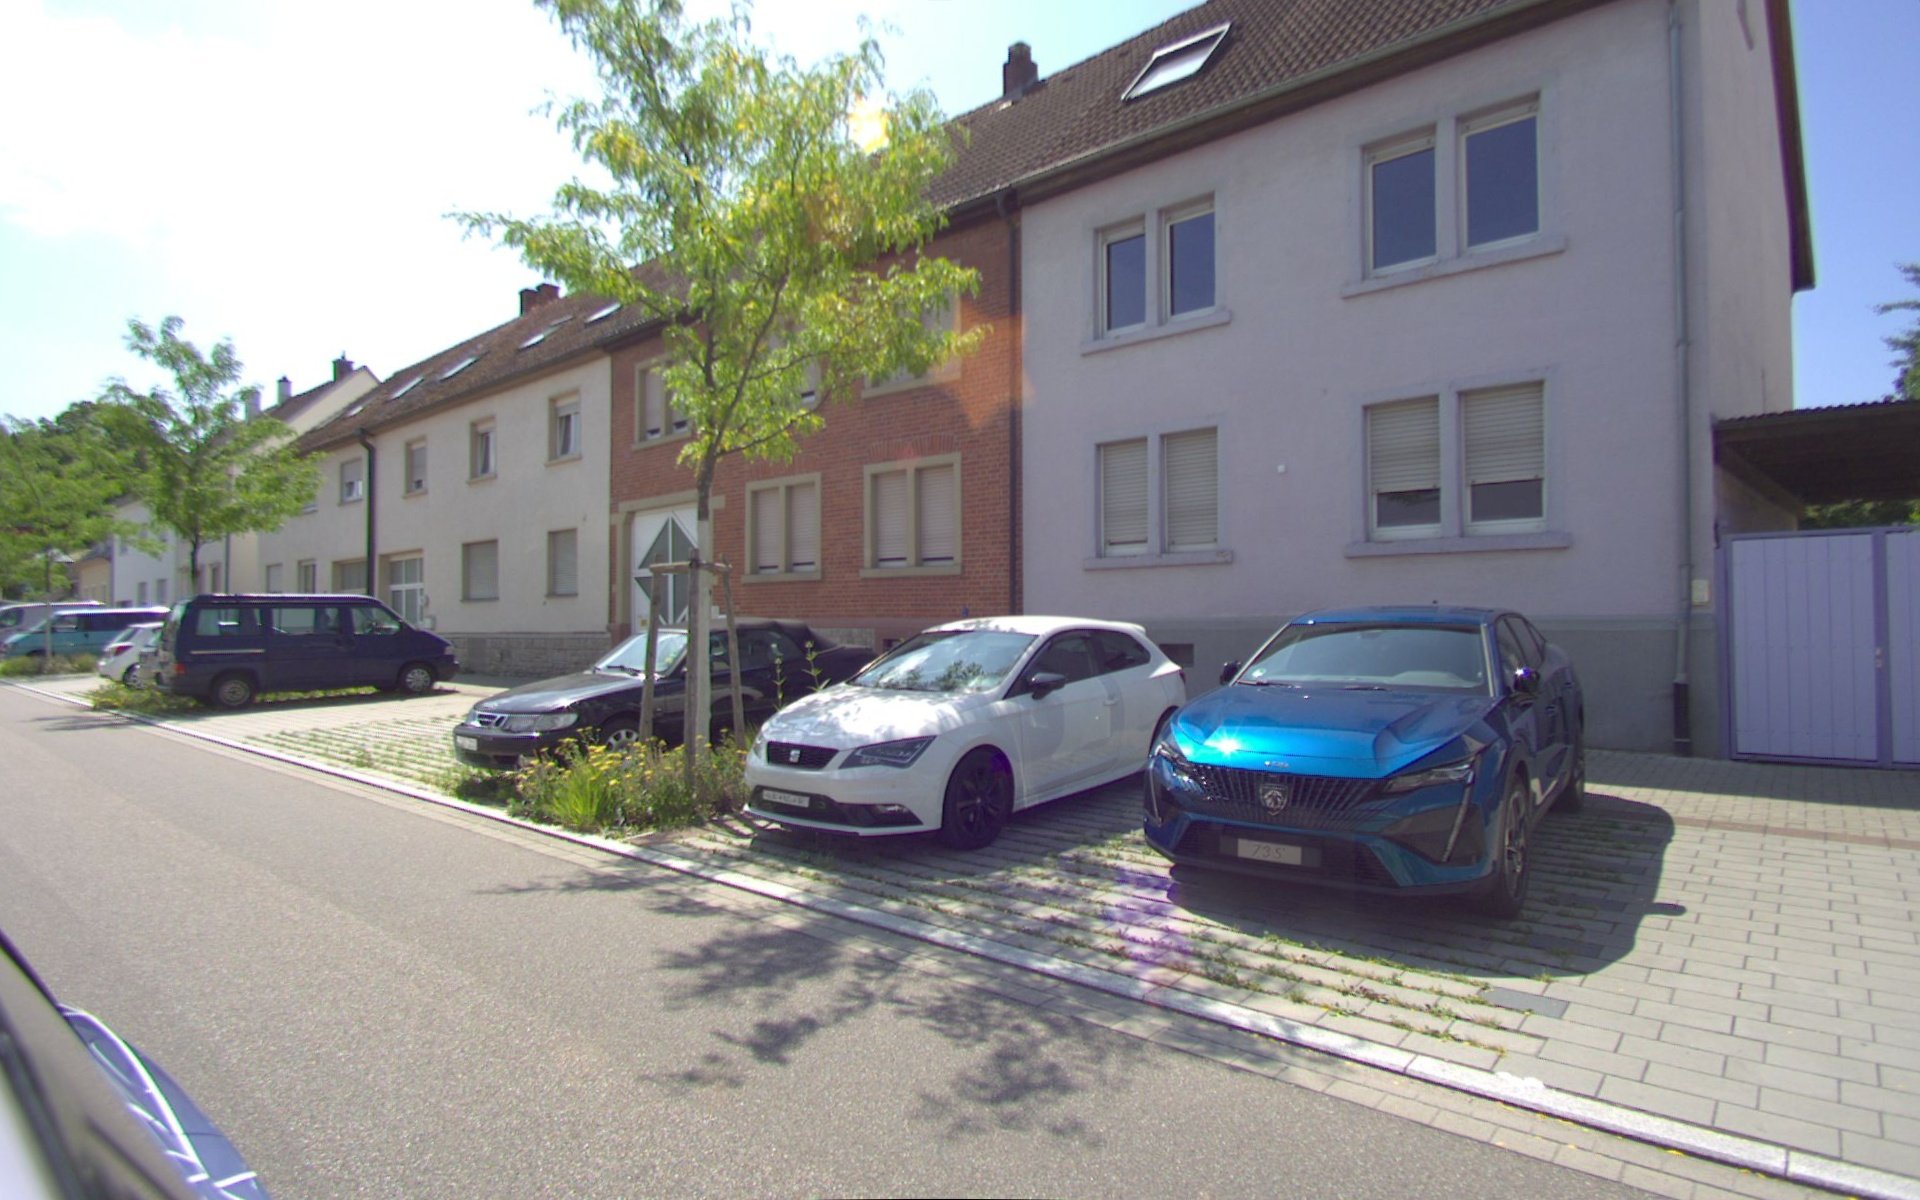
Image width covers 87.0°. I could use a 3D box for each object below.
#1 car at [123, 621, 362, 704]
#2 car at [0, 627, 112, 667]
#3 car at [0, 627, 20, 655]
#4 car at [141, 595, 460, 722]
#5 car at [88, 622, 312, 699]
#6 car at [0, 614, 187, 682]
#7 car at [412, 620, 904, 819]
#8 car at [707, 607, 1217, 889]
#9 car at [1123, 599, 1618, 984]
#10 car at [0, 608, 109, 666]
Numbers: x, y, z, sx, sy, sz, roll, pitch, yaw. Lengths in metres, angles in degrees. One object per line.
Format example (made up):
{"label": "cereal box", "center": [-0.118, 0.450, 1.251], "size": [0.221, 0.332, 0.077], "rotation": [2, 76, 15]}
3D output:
{"label": "car", "center": [-15.194, 1.248, 21.568], "size": [1.772, 1.500, 3.874], "rotation": [-2, -1, 43]}
{"label": "car", "center": [-37.080, 1.880, 41.148], "size": [1.725, 1.396, 3.744], "rotation": [-1, 0, 41]}
{"label": "car", "center": [-56.625, 2.389, 57.522], "size": [1.900, 1.528, 4.540], "rotation": [-2, -1, 40]}
{"label": "car", "center": [-11.947, 0.945, 18.571], "size": [1.953, 2.011, 4.563], "rotation": [-2, -1, 43]}
{"label": "car", "center": [-17.369, 1.315, 23.244], "size": [1.772, 1.500, 3.874], "rotation": [-2, -1, 43]}
{"label": "car", "center": [-27.914, 1.467, 32.482], "size": [1.999, 1.921, 4.628], "rotation": [-1, 0, 41]}
{"label": "car", "center": [-2.756, 0.974, 10.138], "size": [1.794, 1.436, 4.477], "rotation": [-2, -1, 40]}
{"label": "car", "center": [0.270, 0.841, 7.684], "size": [1.773, 1.489, 4.015], "rotation": [-2, 0, 38]}
{"label": "car", "center": [2.844, 0.770, 6.288], "size": [1.773, 1.489, 4.363], "rotation": [-2, 0, 37]}
{"label": "car", "center": [-40.053, 1.578, 43.413], "size": [2.155, 2.305, 5.116], "rotation": [-2, 0, 39]}
